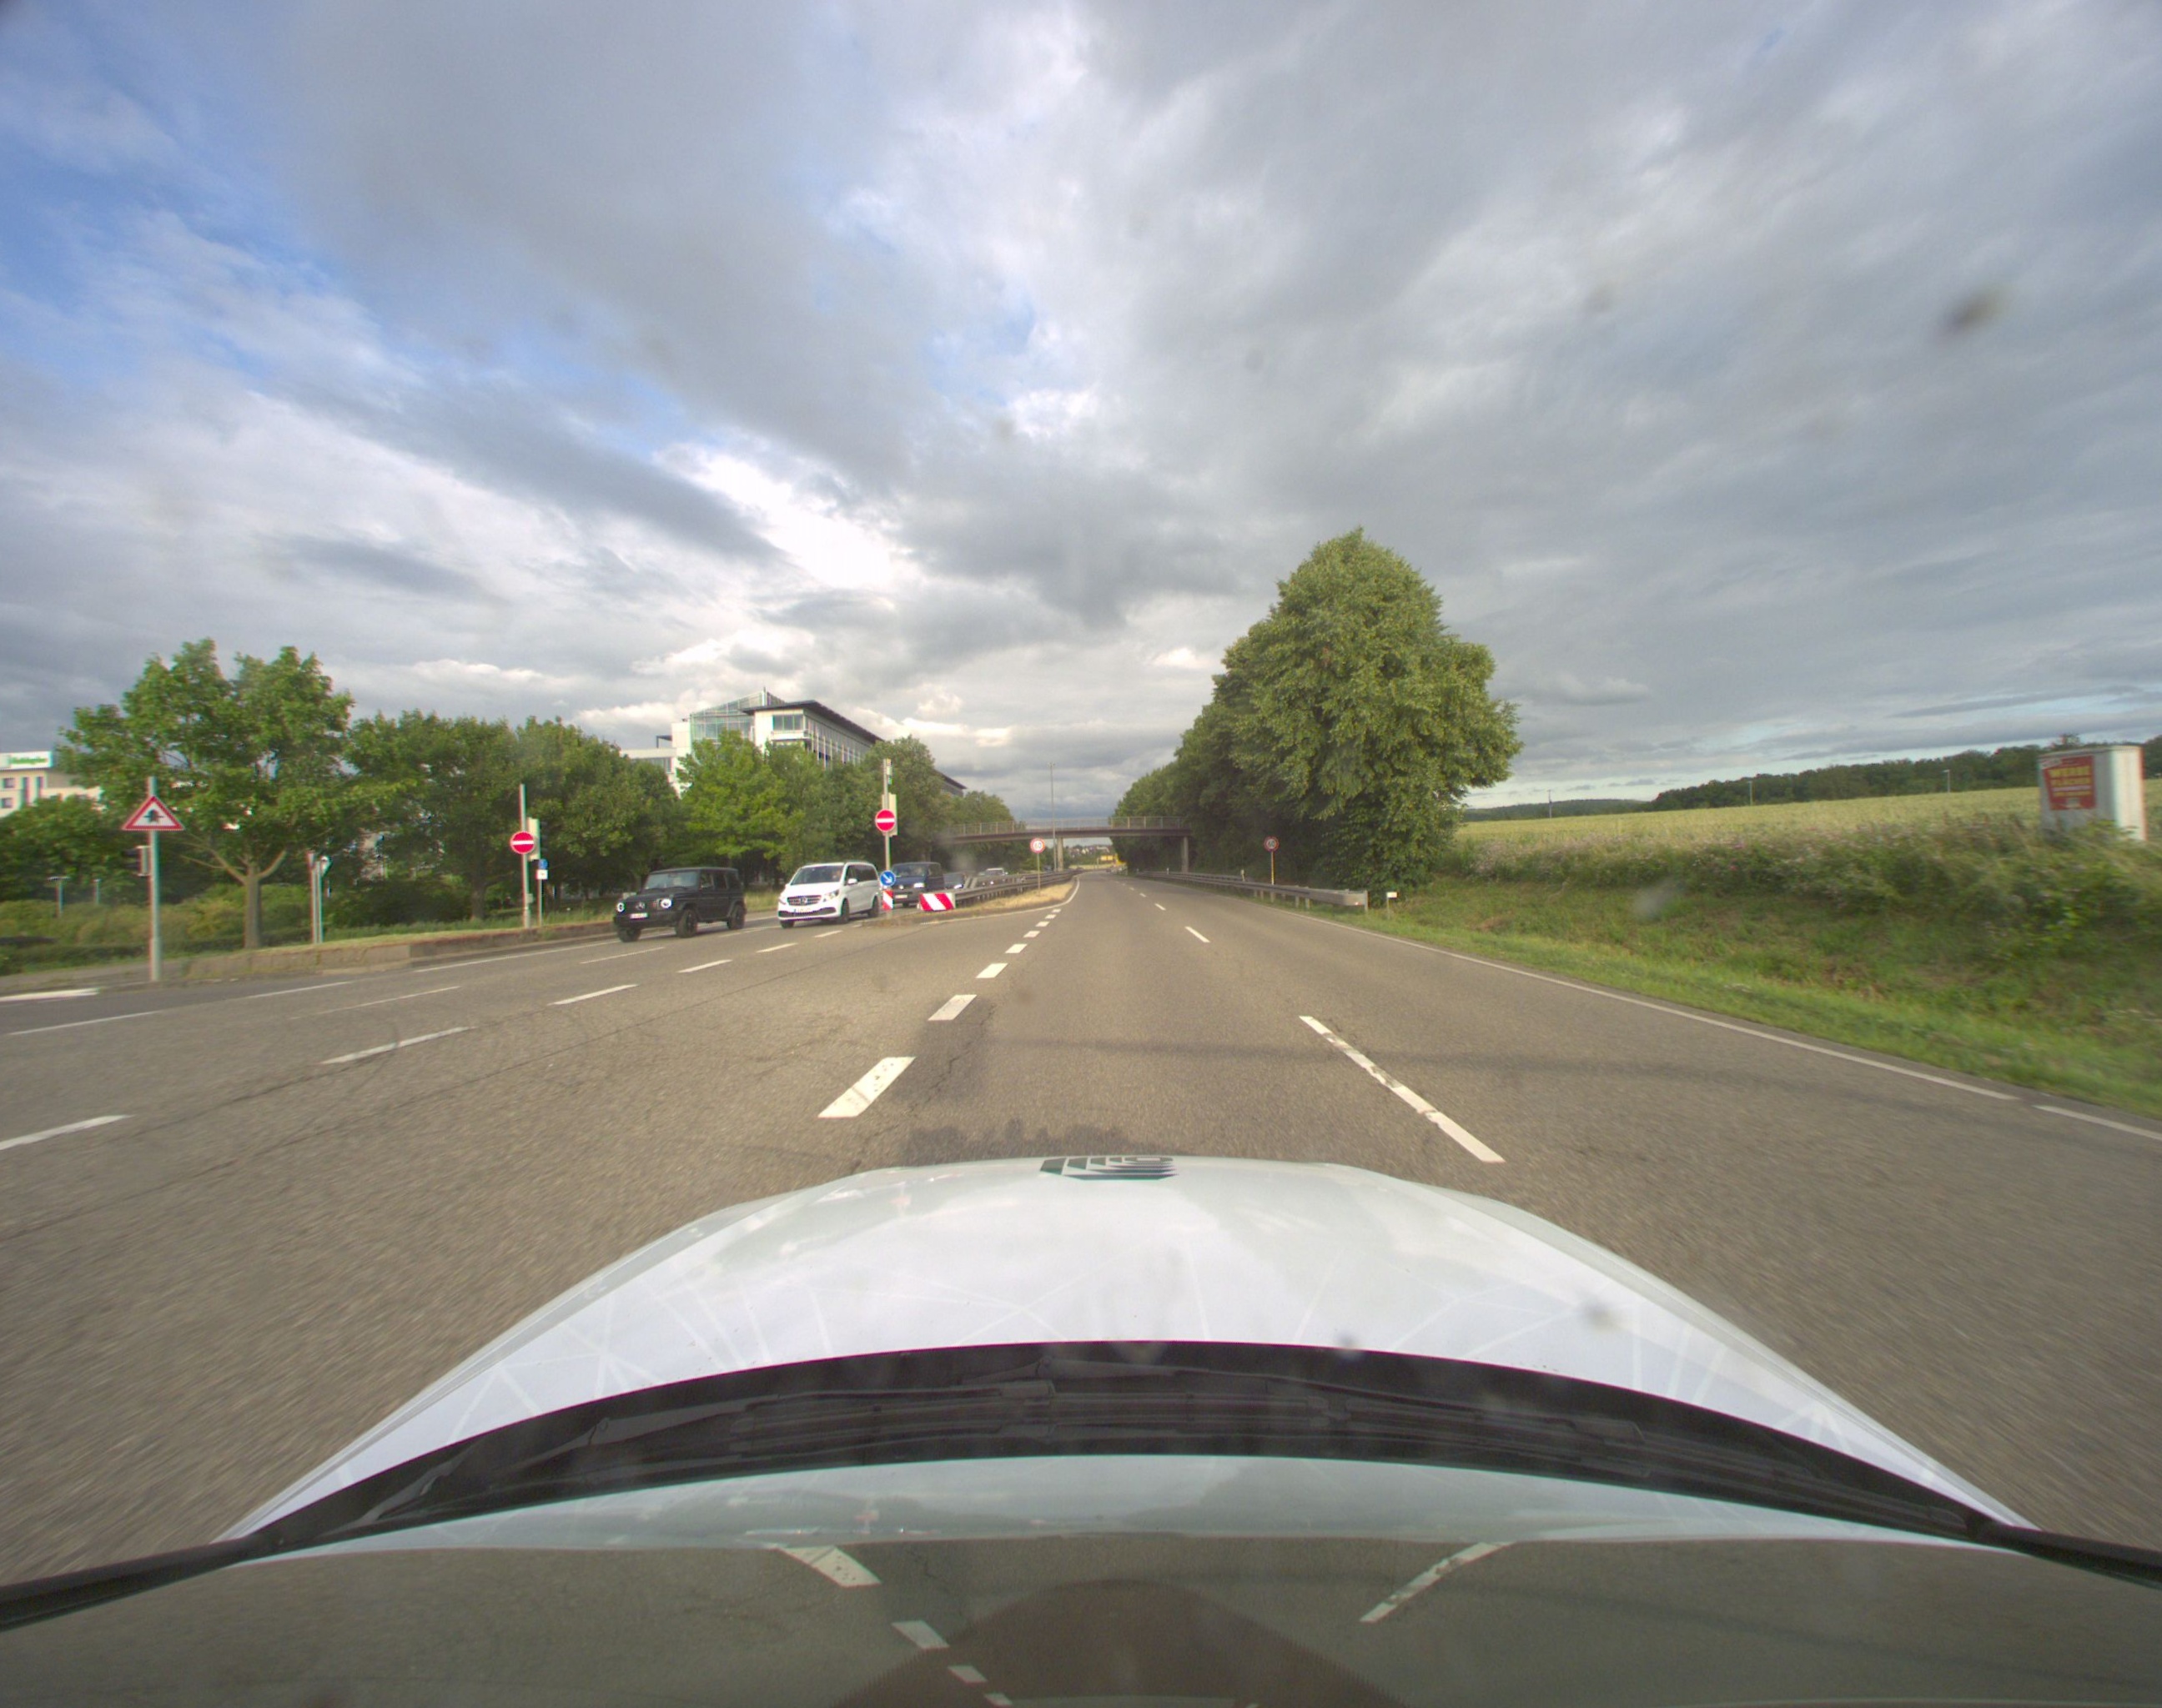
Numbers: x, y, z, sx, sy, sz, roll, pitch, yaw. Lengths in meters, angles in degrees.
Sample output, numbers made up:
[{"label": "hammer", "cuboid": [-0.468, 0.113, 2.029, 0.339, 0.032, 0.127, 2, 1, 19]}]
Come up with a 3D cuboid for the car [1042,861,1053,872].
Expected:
[{"label": "car", "cuboid": [-7.798, 2.983, 190.628, 2.242, 2.537, 6.940, -1, -1, 1]}]

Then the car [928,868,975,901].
[{"label": "car", "cuboid": [-6.970, 1.601, 44.259, 1.707, 1.589, 4.554, -3, -1, 1]}]

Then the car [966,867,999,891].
[{"label": "car", "cuboid": [-6.764, 1.708, 56.225, 1.712, 1.467, 3.734, -3, -1, 0]}]

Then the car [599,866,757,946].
[{"label": "car", "cuboid": [-11.584, 1.408, 23.908, 1.927, 1.990, 5.092, -3, -1, 1]}]

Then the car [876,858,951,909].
[{"label": "car", "cuboid": [-7.222, 1.235, 35.592, 1.891, 1.917, 5.053, -5, -1, 2]}]

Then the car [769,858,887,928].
[{"label": "car", "cuboid": [-7.828, 1.148, 25.819, 1.928, 1.872, 5.347, -3, -1, 1]}]

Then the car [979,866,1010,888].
[{"label": "car", "cuboid": [-6.785, 1.762, 64.127, 1.816, 1.584, 4.790, -3, -1, 1]}]
